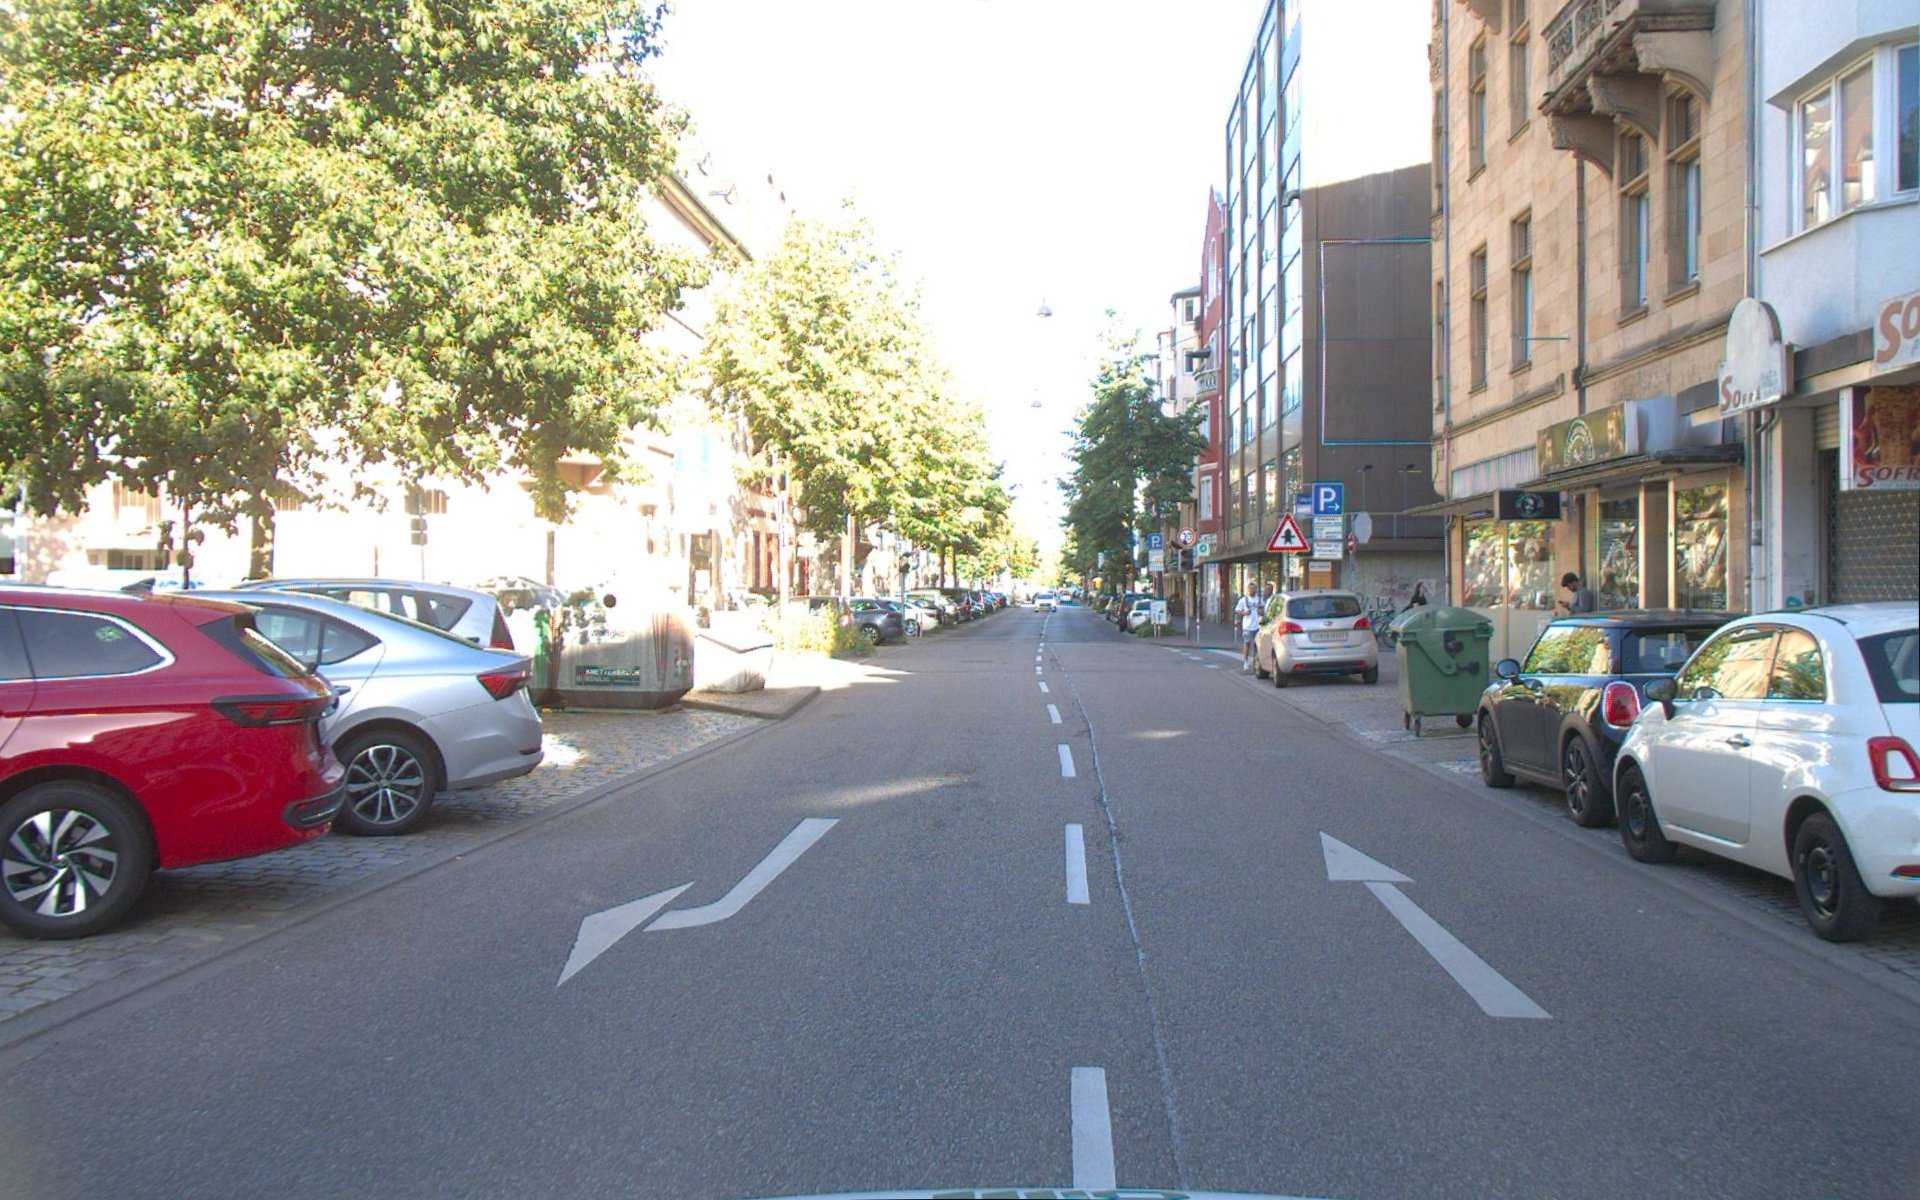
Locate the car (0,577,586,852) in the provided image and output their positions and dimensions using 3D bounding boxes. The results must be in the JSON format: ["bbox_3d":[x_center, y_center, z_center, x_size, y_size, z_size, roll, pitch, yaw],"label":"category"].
[{"bbox_3d":[-4.603,0.661,10.304,4.167,1.503,1.722,2,-1,-25],"label":"car"}]

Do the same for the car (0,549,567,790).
[{"bbox_3d":[-5.231,0.519,12.758,3.942,1.614,1.814,2,-1,-29],"label":"car"}]

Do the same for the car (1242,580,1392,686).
[{"bbox_3d":[6.330,0.579,29.829,1.859,1.704,4.826,1,-1,3],"label":"car"}]

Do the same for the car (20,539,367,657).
[{"bbox_3d":[-13.077,0.004,28.564,5.193,1.831,2.148,2,-1,-24],"label":"car"}]

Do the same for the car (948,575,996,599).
[{"bbox_3d":[1.072,-1.138,146.245,3.902,2.049,2.002,1,0,13],"label":"car"}]

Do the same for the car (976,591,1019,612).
[{"bbox_3d":[3.785,0.144,166.516,3.902,2.049,2.002,1,0,13],"label":"car"}]

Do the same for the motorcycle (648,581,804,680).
[{"bbox_3d":[-3.954,0.514,27.984,2.421,1.632,1.000,-1,0,22],"label":"motorcycle"}]

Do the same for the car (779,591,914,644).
[{"bbox_3d":[-3.491,0.544,51.404,3.903,1.534,2.001,1,0,4],"label":"car"}]

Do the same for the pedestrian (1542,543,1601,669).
[{"bbox_3d":[9.036,0.088,24.460,0.595,1.820,0.683,-1,-1,2],"label":"pedestrian"}]

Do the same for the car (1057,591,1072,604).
[{"bbox_3d":[13.631,-0.286,215.029,1.831,1.583,4.002,1,-1,4],"label":"car"}]

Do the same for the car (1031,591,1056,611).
[{"bbox_3d":[6.985,0.129,138.298,1.952,1.583,4.002,1,-1,4],"label":"car"}]

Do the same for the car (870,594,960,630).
[{"bbox_3d":[-2.056,0.557,76.235,3.903,1.534,2.001,1,0,4],"label":"car"}]

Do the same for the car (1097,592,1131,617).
[{"bbox_3d":[9.606,0.265,103.319,1.952,1.478,4.002,1,0,3],"label":"car"}]

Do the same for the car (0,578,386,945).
[{"bbox_3d":[-5.089,0.646,7.329,4.764,1.514,1.754,2,-1,-21],"label":"car"}]

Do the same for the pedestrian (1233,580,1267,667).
[{"bbox_3d":[5.950,0.479,33.933,0.601,1.765,0.634,1,-1,4],"label":"pedestrian"}]

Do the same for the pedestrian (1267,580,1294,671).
[{"bbox_3d":[6.480,0.518,33.480,0.501,1.811,0.613,1,-1,10],"label":"pedestrian"}]

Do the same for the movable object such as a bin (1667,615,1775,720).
[{"bbox_3d":[8.564,0.749,18.641,0.858,1.143,0.829,1,-1,3],"label":"movable object such as a bin"}]

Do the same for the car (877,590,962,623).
[{"bbox_3d":[-1.931,0.318,80.162,3.903,1.534,1.895,1,0,4],"label":"car"}]

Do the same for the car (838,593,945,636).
[{"bbox_3d":[-2.638,0.550,64.138,3.903,1.534,2.001,1,0,4],"label":"car"}]

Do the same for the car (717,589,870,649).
[{"bbox_3d":[-4.587,0.519,45.993,3.903,1.534,2.001,1,0,4],"label":"car"}]

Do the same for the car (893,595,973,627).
[{"bbox_3d":[-1.366,0.586,84.759,3.903,1.534,2.001,1,0,3],"label":"car"}]

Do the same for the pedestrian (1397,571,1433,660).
[{"bbox_3d":[9.880,0.334,35.880,0.633,1.904,0.626,1,-1,26],"label":"pedestrian"}]

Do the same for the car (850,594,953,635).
[{"bbox_3d":[-2.330,0.578,66.430,3.903,1.534,2.001,1,0,4],"label":"car"}]

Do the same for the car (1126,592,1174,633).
[{"bbox_3d":[8.122,0.539,70.987,1.951,1.646,4.012,2,-1,6],"label":"car"}]

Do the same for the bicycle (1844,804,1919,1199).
[{"bbox_3d":[2.699,1.041,3.193,0.639,0.975,2.699,1,-1,3],"label":"bicycle"}]

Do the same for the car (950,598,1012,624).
[{"bbox_3d":[1.423,0.754,109.941,3.902,1.534,2.001,2,0,7],"label":"car"}]

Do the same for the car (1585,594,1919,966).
[{"bbox_3d":[4.788,0.757,8.722,1.682,1.541,3.583,-2,-1,2],"label":"car"}]

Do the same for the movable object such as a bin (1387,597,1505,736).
[{"bbox_3d":[5.635,0.749,19.270,1.050,1.482,1.494,-3,1,8],"label":"movable object such as a bin"}]

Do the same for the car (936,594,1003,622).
[{"bbox_3d":[0.603,0.496,102.278,3.902,1.534,2.001,2,0,7],"label":"car"}]

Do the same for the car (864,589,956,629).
[{"bbox_3d":[-2.207,0.402,73.958,3.903,1.703,2.090,1,0,4],"label":"car"}]

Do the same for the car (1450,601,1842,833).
[{"bbox_3d":[5.031,0.784,12.686,1.643,1.473,3.787,1,-1,4],"label":"car"}]
